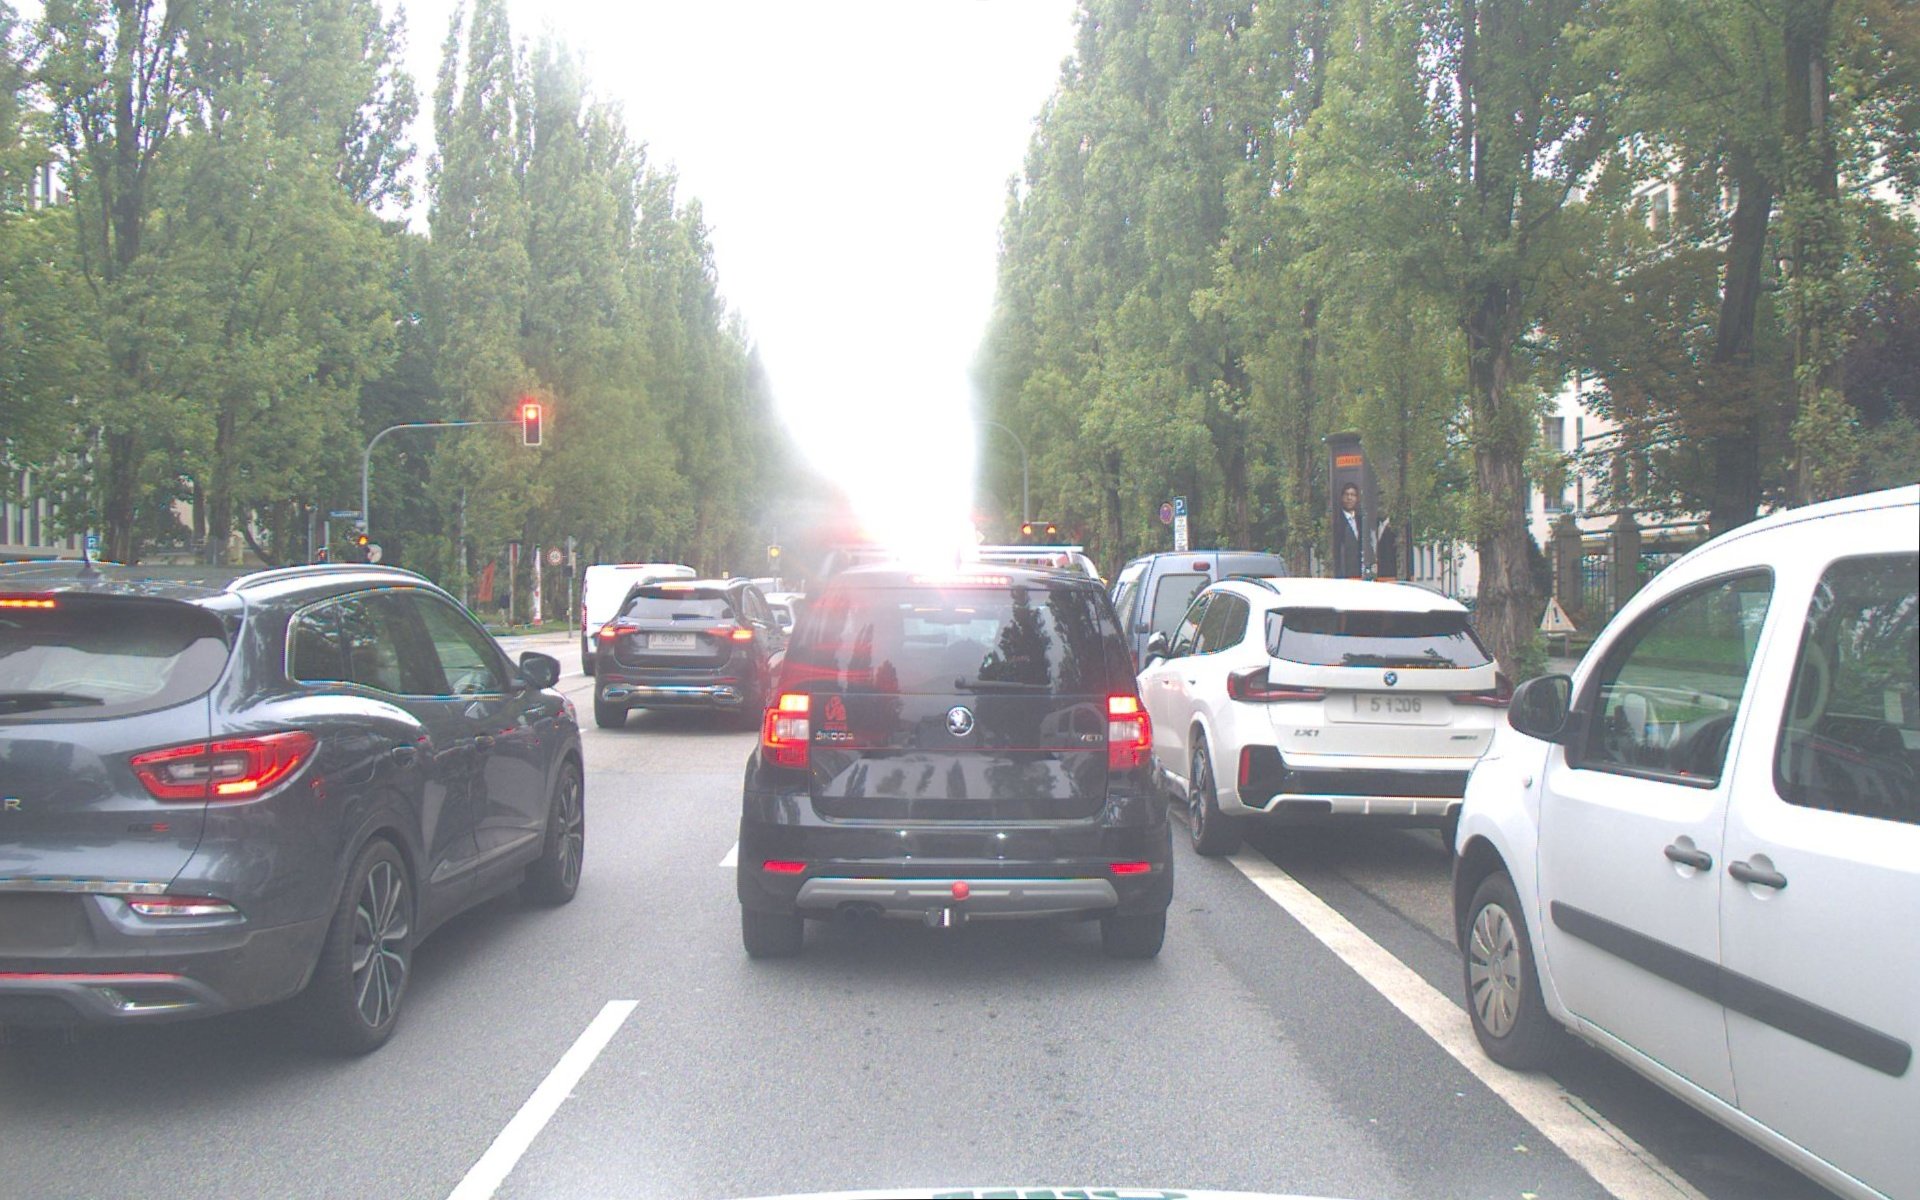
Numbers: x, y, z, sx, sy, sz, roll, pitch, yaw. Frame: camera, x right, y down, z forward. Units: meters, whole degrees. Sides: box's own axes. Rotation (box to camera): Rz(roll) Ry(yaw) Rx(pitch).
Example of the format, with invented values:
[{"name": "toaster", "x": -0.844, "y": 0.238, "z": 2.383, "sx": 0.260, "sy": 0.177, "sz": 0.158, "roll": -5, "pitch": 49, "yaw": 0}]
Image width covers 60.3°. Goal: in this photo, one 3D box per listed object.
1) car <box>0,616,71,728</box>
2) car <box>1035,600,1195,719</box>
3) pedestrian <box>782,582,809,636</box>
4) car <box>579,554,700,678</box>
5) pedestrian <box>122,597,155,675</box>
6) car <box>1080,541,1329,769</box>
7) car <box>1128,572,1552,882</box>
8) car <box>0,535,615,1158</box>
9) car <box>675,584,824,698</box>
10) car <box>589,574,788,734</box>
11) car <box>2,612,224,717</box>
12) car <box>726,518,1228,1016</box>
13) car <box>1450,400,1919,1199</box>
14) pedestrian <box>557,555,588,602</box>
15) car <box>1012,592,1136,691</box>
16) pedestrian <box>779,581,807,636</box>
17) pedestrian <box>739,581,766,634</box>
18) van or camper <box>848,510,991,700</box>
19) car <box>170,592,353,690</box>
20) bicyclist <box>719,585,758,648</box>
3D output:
[{"name": "car", "x": -13.113, "y": 0.975, "z": 20.988, "sx": 1.591, "sy": 1.413, "sz": 4.163, "roll": -3, "pitch": 0, "yaw": -4}, {"name": "car", "x": 2.005, "y": 0.733, "z": 22.230, "sx": 1.700, "sy": 1.411, "sz": 3.561, "roll": -1, "pitch": 1, "yaw": -2}, {"name": "pedestrian", "x": -6.256, "y": 0.334, "z": 62.791, "sx": 0.867, "sy": 2.049, "sz": 1.013, "roll": -1, "pitch": 0, "yaw": 1}, {"name": "car", "x": -5.932, "y": 0.270, "z": 30.989, "sx": 1.746, "sy": 2.148, "sz": 4.021, "roll": -1, "pitch": 0, "yaw": -5}, {"name": "pedestrian", "x": -16.507, "y": 0.713, "z": 33.245, "sx": 0.455, "sy": 1.555, "sz": 0.395, "roll": -1, "pitch": 0, "yaw": -1}, {"name": "car", "x": 2.240, "y": 0.444, "z": 16.161, "sx": 1.700, "sy": 1.928, "sz": 4.023, "roll": -1, "pitch": 1, "yaw": -2}, {"name": "car", "x": 2.235, "y": 0.650, "z": 10.886, "sx": 1.706, "sy": 1.620, "sz": 4.210, "roll": -1, "pitch": 1, "yaw": -2}, {"name": "car", "x": -2.689, "y": 0.620, "z": 6.403, "sx": 1.798, "sy": 1.613, "sz": 4.185, "roll": 1, "pitch": 0, "yaw": 0}, {"name": "car", "x": -3.176, "y": 0.562, "z": 25.715, "sx": 1.954, "sy": 1.588, "sz": 3.998, "roll": -1, "pitch": 1, "yaw": -3}, {"name": "car", "x": -3.018, "y": 0.540, "z": 19.119, "sx": 1.745, "sy": 1.648, "sz": 4.023, "roll": 0, "pitch": 1, "yaw": -2}, {"name": "car", "x": -13.423, "y": 0.971, "z": 26.484, "sx": 1.591, "sy": 1.413, "sz": 4.163, "roll": -3, "pitch": 0, "yaw": -4}, {"name": "car", "x": 0.015, "y": 0.611, "z": 8.113, "sx": 1.818, "sy": 1.801, "sz": 3.999, "roll": 1, "pitch": 0, "yaw": -2}, {"name": "car", "x": 2.717, "y": 0.560, "z": 3.761, "sx": 1.814, "sy": 1.914, "sz": 4.166, "roll": -1, "pitch": 1, "yaw": -2}, {"name": "pedestrian", "x": -14.855, "y": -0.821, "z": 63.373, "sx": 0.861, "sy": 1.795, "sz": 0.879, "roll": -1, "pitch": 0, "yaw": 8}, {"name": "car", "x": 1.827, "y": 0.641, "z": 27.528, "sx": 1.700, "sy": 1.501, "sz": 3.561, "roll": -1, "pitch": 1, "yaw": -2}, {"name": "pedestrian", "x": -6.219, "y": 0.313, "z": 61.683, "sx": 0.867, "sy": 2.049, "sz": 1.013, "roll": -1, "pitch": 0, "yaw": 1}, {"name": "pedestrian", "x": -8.112, "y": 0.290, "z": 64.571, "sx": 0.867, "sy": 2.049, "sz": 1.013, "roll": -1, "pitch": 0, "yaw": 1}, {"name": "van or camper", "x": -0.672, "y": 0.047, "z": 24.799, "sx": 1.936, "sy": 2.593, "sz": 4.022, "roll": -1, "pitch": 0, "yaw": -3}, {"name": "car", "x": -13.566, "y": 0.738, "z": 32.430, "sx": 1.813, "sy": 1.683, "sz": 4.692, "roll": -3, "pitch": 0, "yaw": -4}, {"name": "bicyclist", "x": -6.219, "y": 0.465, "z": 46.489, "sx": 0.886, "sy": 1.752, "sz": 0.825, "roll": -1, "pitch": 0, "yaw": 8}]
